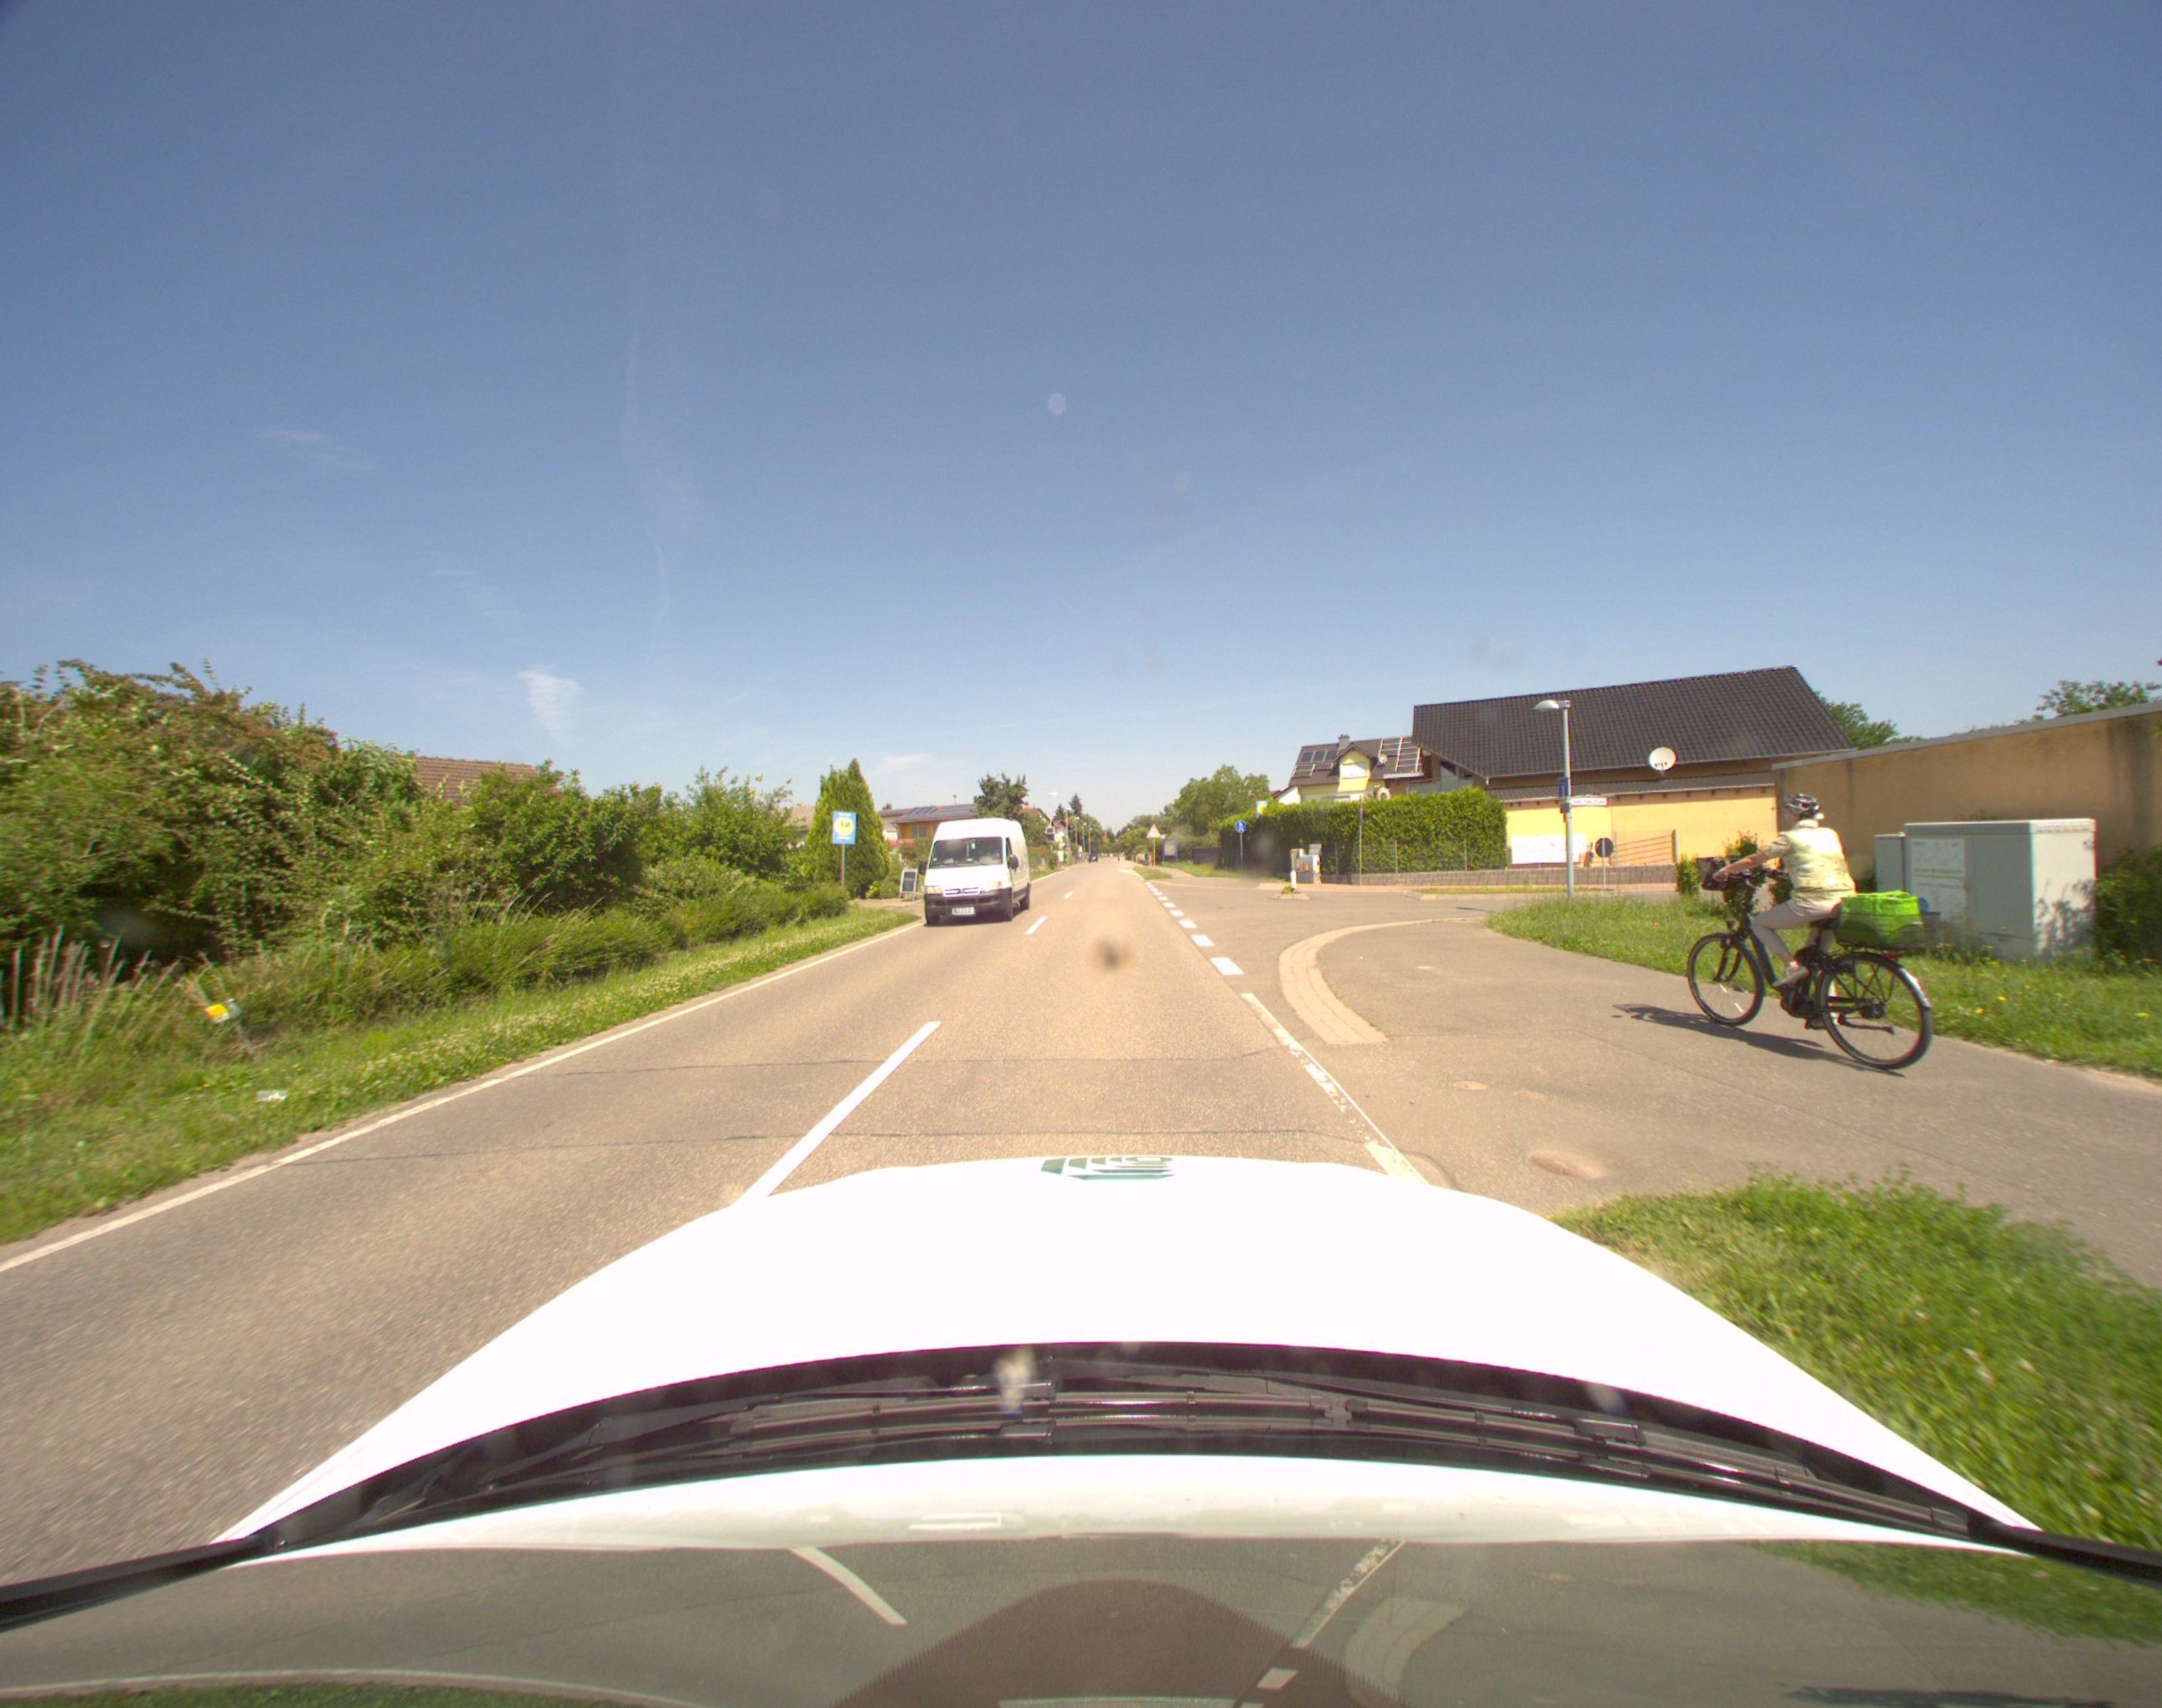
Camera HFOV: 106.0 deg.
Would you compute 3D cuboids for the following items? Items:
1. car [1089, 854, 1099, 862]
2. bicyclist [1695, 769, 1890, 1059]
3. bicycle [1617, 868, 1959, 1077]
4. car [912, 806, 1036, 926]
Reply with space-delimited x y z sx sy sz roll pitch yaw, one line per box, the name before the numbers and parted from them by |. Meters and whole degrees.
car | 2.553 0.823 160.455 1.752 1.385 3.454 -3 0 2
bicyclist | 4.964 0.387 5.740 0.642 1.889 0.861 -1 1 1
bicycle | 4.980 0.731 6.010 0.608 1.158 2.275 -1 1 2
car | -2.528 0.237 20.896 2.069 2.542 5.876 -3 0 2
